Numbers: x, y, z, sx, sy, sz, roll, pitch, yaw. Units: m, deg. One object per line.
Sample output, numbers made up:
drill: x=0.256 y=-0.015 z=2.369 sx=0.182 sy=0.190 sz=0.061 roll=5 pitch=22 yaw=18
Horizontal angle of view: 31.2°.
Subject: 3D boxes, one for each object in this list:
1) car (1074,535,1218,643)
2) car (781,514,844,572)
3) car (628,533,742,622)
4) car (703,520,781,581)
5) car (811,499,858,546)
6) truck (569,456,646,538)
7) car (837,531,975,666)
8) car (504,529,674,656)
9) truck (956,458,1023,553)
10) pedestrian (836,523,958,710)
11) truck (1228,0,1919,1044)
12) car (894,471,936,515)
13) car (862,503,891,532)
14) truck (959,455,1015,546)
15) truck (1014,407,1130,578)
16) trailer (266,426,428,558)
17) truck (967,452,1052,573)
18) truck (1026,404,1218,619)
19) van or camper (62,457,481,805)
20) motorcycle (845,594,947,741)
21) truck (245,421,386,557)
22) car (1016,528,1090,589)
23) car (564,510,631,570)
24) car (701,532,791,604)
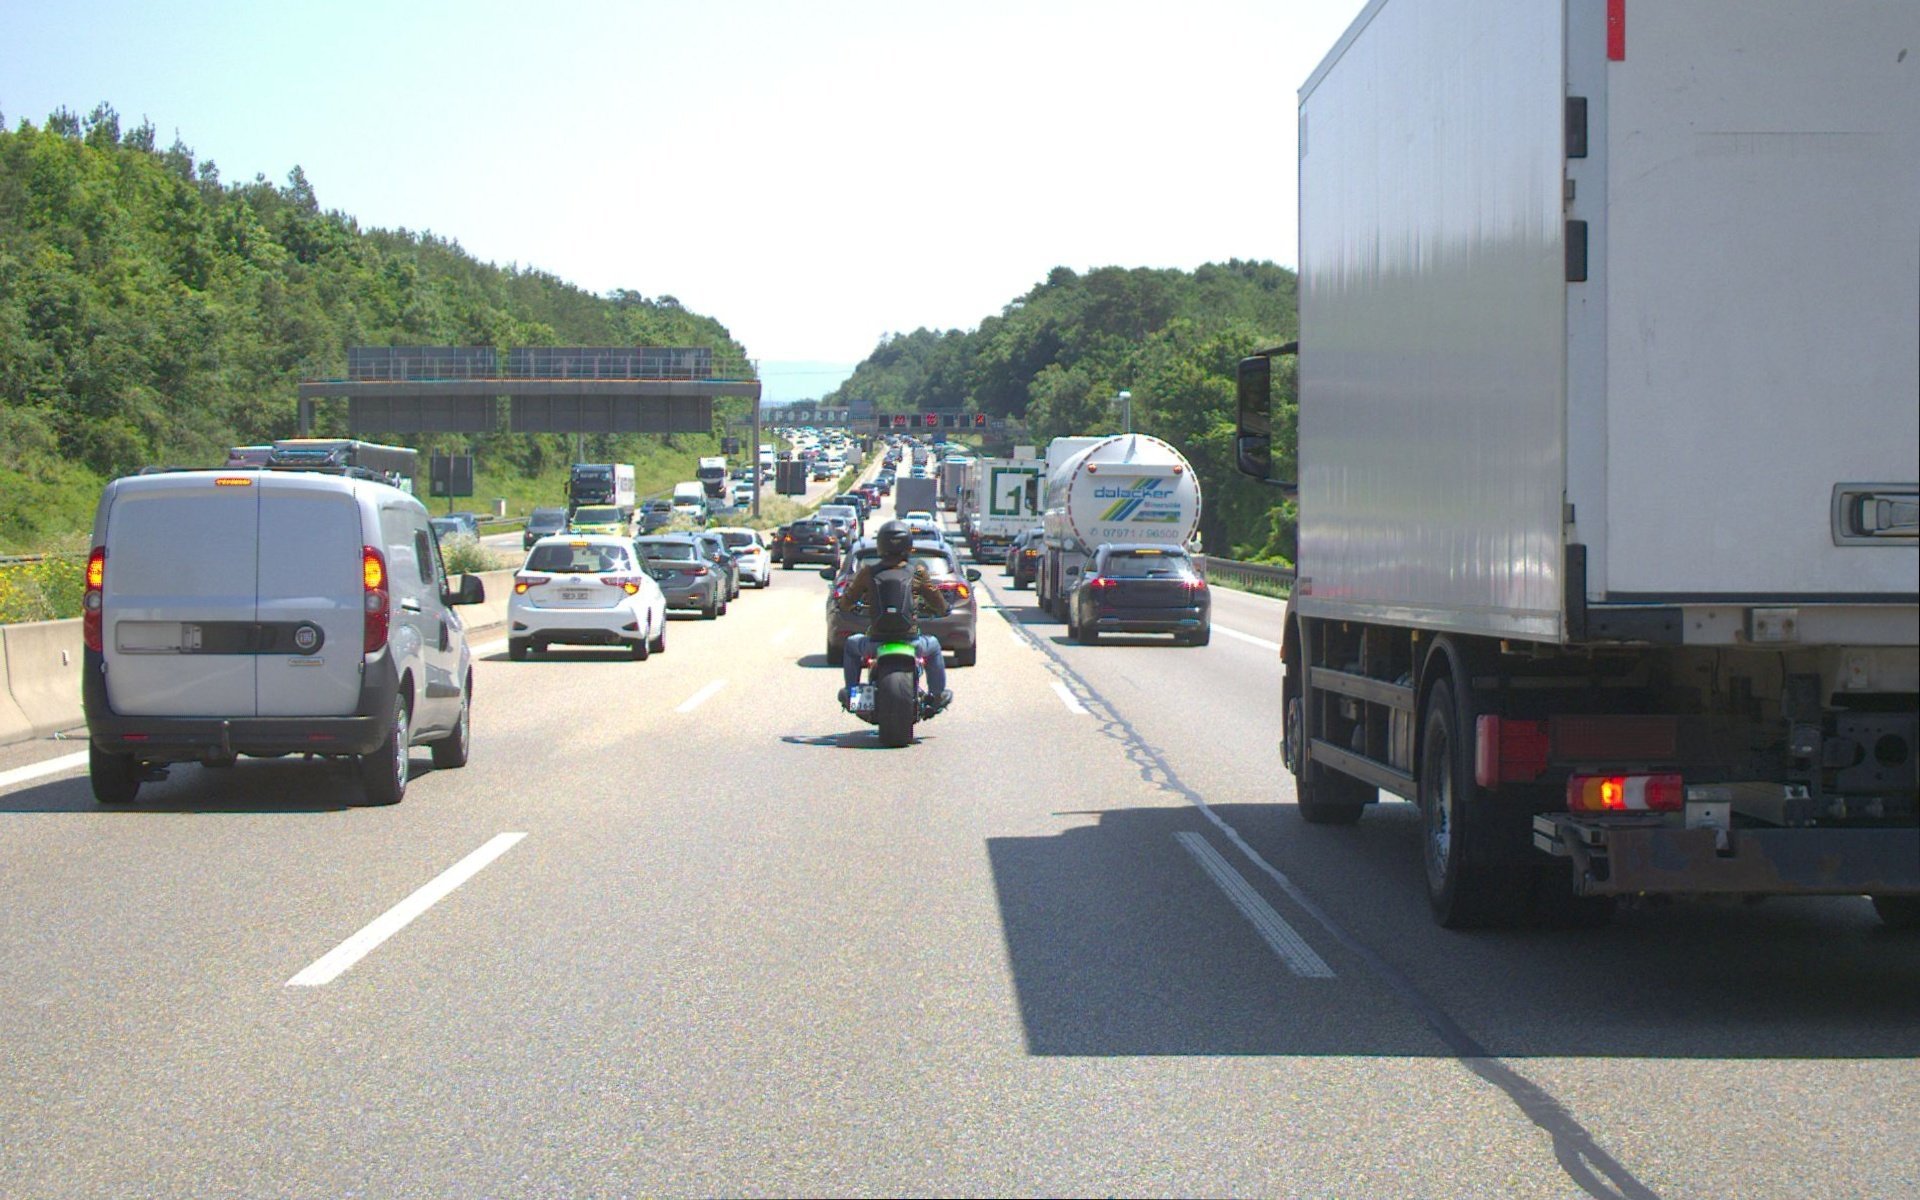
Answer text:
car: x=2.669 y=-0.187 z=50.150 sx=1.828 sy=1.465 sz=4.000 roll=1 pitch=1 yaw=0
car: x=-4.819 y=-1.891 z=112.755 sx=1.880 sy=1.853 sz=4.000 roll=1 pitch=1 yaw=0
car: x=-4.735 y=-0.411 z=59.631 sx=1.699 sy=1.473 sz=4.000 roll=0 pitch=1 yaw=-1
car: x=-5.330 y=-1.233 z=84.502 sx=1.699 sy=1.473 sz=4.000 roll=0 pitch=1 yaw=-1
car: x=-5.694 y=-3.507 z=156.127 sx=1.929 sy=2.007 sz=4.000 roll=-2 pitch=0 yaw=0
truck: x=-20.504 y=-5.968 z=200.390 sx=3.724 sy=4.512 sz=7.327 roll=-2 pitch=0 yaw=-1
car: x=-0.660 y=-0.052 z=41.398 sx=1.532 sy=1.504 sz=4.000 roll=-2 pitch=1 yaw=-1
car: x=-4.533 y=-0.124 z=42.482 sx=1.699 sy=1.473 sz=4.000 roll=0 pitch=1 yaw=-1
truck: x=1.411 y=-4.686 z=170.874 sx=3.033 sy=4.527 sz=9.983 roll=1 pitch=1 yaw=-1
pedestrian: x=-0.463 y=0.114 z=25.823 sx=0.849 sy=1.357 sz=0.961 roll=-2 pitch=1 yaw=1
truck: x=3.070 y=-0.716 z=15.358 sx=2.688 sy=3.863 sz=9.781 roll=-2 pitch=1 yaw=-1
car: x=-2.687 y=-6.428 z=206.601 sx=2.504 sy=2.578 sz=5.017 roll=0 pitch=1 yaw=-1
car: x=-5.890 y=-5.831 z=243.349 sx=1.993 sy=2.007 sz=4.000 roll=1 pitch=1 yaw=0
truck: x=1.540 y=-5.780 z=200.951 sx=3.033 sy=5.121 sz=9.983 roll=1 pitch=1 yaw=-1
truck: x=2.362 y=-2.252 z=73.885 sx=1.993 sy=3.510 sz=4.752 roll=-2 pitch=0 yaw=-3
trailer: x=-20.135 y=-3.455 z=113.780 sx=2.906 sy=3.960 sz=13.889 roll=-2 pitch=0 yaw=-1
truck: x=1.882 y=-3.442 z=135.012 sx=3.033 sy=4.527 sz=9.983 roll=1 pitch=1 yaw=-1
truck: x=2.916 y=-1.589 z=64.793 sx=2.988 sy=3.659 sz=9.288 roll=-2 pitch=0 yaw=0
van or camper: x=-4.045 y=0.150 z=20.831 sx=1.796 sy=1.886 sz=4.160 roll=0 pitch=0 yaw=-2
motorcycle: x=-0.464 y=0.482 z=25.773 sx=0.691 sy=1.012 sz=2.121 roll=1 pitch=1 yaw=1
truck: x=-20.070 y=-3.391 z=107.539 sx=2.906 sy=3.960 sz=7.769 roll=-2 pitch=0 yaw=-1
car: x=2.428 y=-1.117 z=90.528 sx=1.787 sy=1.550 sz=3.804 roll=0 pitch=1 yaw=-1
car: x=-13.030 y=-2.145 z=123.749 sx=1.880 sy=2.007 sz=4.468 roll=-3 pitch=0 yaw=0
car: x=-4.535 y=-0.701 z=73.116 sx=1.699 sy=1.473 sz=4.000 roll=0 pitch=1 yaw=-1
